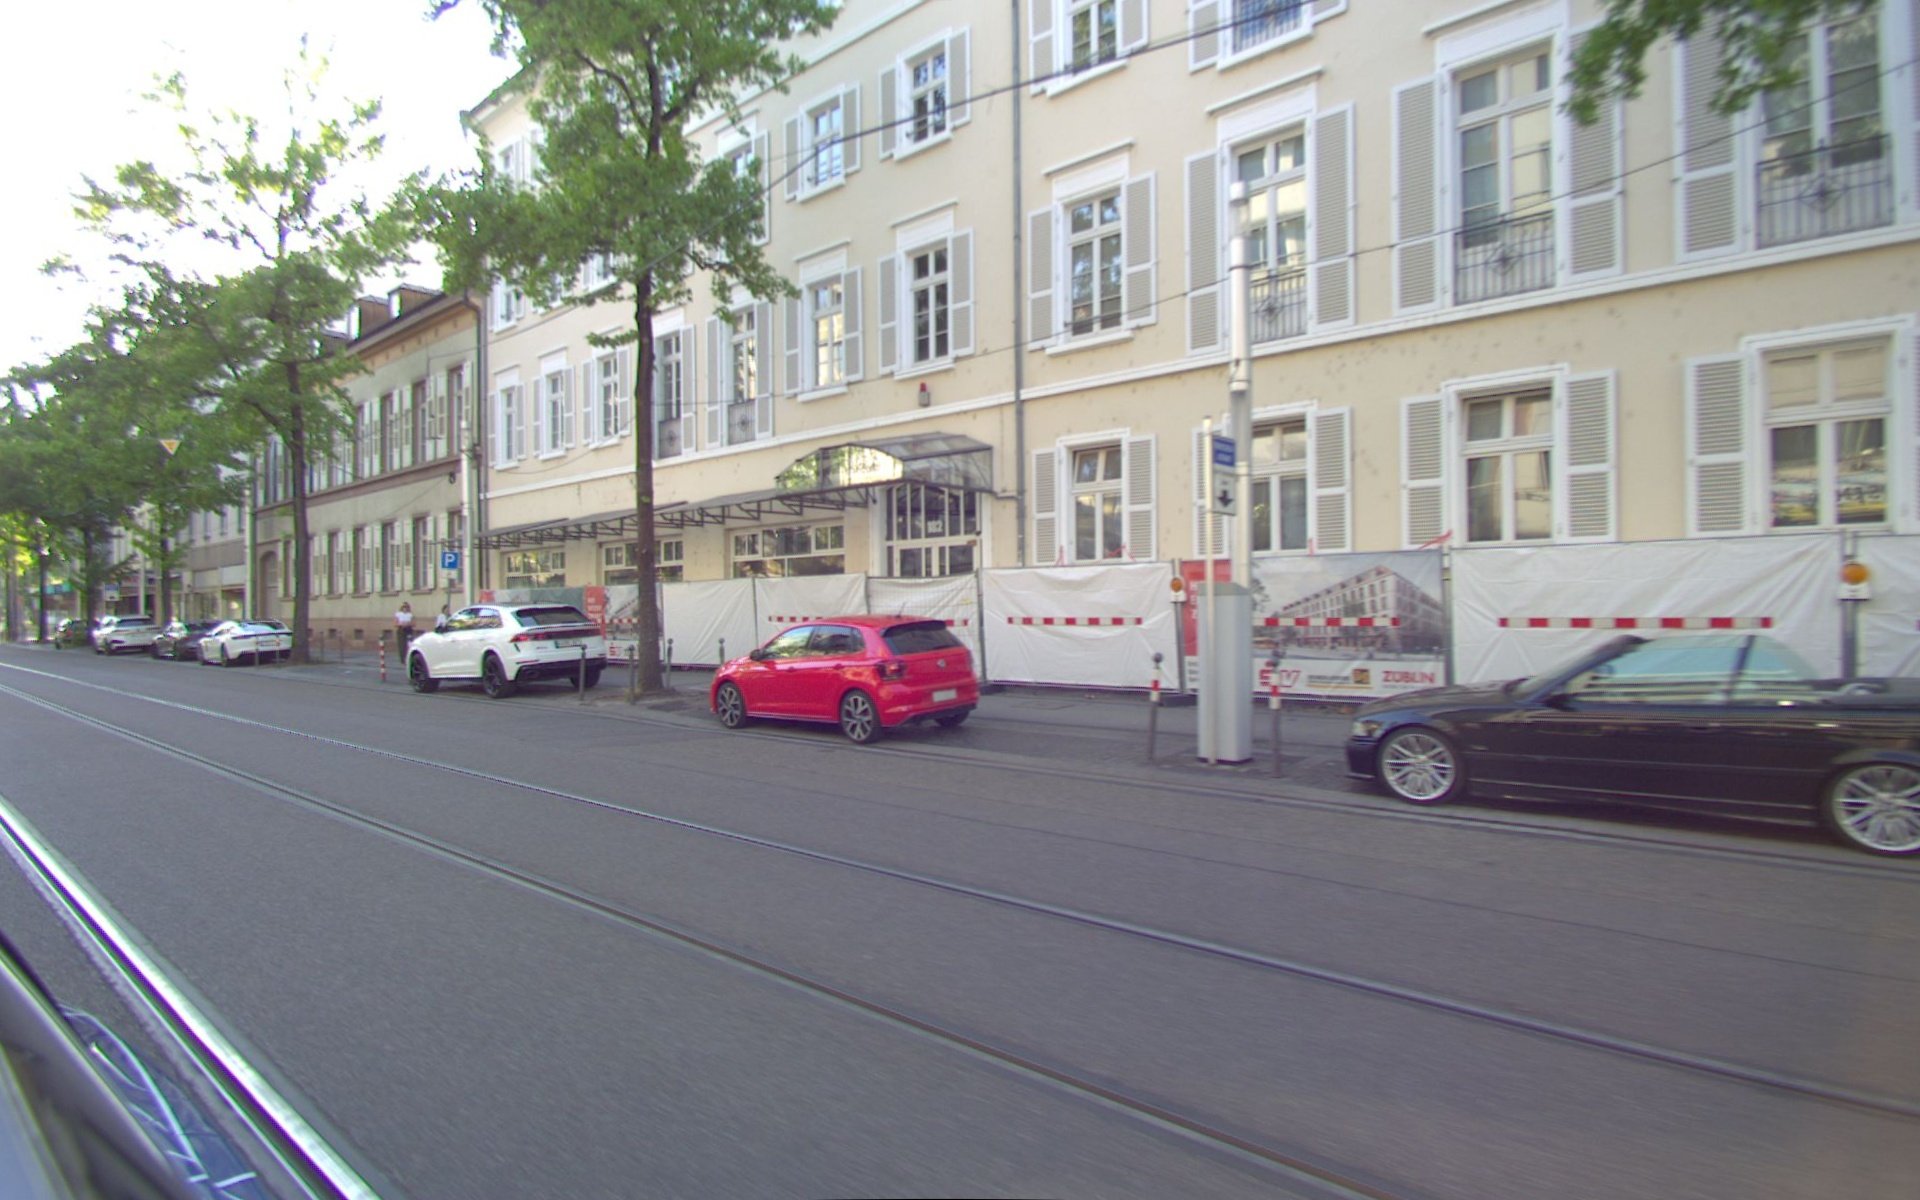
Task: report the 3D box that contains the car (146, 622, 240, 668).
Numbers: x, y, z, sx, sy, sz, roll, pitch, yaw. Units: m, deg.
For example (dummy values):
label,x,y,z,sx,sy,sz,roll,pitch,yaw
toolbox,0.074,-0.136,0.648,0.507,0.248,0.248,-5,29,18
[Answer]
label,x,y,z,sx,sy,sz,roll,pitch,yaw
car,-28.143,1.628,37.098,4.337,1.477,1.724,-2,1,39

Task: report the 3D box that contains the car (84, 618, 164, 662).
label,x,y,z,sx,sy,sz,roll,pitch,yaw
car,-36.922,1.742,44.663,4.763,1.754,1.927,-2,1,41

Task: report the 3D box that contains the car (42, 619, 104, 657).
label,x,y,z,sx,sy,sz,roll,pitch,yaw
car,-47.919,2.036,54.673,4.763,1.972,1.907,-2,-2,41

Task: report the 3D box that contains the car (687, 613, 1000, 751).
label,x,y,z,sx,sy,sz,roll,pitch,yaw
car,-1.616,0.938,13.005,4.140,1.416,1.642,-1,2,42

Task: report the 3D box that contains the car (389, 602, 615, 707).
label,x,y,z,sx,sy,sz,roll,pitch,yaw
car,-8.911,0.980,19.481,4.945,1.701,1.848,-2,2,38

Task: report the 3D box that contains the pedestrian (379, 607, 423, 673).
label,x,y,z,sx,sy,sz,roll,pitch,yaw
pedestrian,-15.584,1.105,28.225,0.933,1.755,0.736,-2,1,42

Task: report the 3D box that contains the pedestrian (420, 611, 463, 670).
label,x,y,z,sx,sy,sz,roll,pitch,yaw
pedestrian,-14.765,1.143,28.836,0.933,1.592,0.736,-2,1,41

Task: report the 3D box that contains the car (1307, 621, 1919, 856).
label,x,y,z,sx,sy,sz,roll,pitch,yaw
car,5.073,0.838,7.342,4.505,1.254,1.700,-1,2,41

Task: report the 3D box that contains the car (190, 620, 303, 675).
label,x,y,z,sx,sy,sz,roll,pitch,yaw
car,-22.473,1.451,31.787,4.615,1.477,1.873,-2,2,42
